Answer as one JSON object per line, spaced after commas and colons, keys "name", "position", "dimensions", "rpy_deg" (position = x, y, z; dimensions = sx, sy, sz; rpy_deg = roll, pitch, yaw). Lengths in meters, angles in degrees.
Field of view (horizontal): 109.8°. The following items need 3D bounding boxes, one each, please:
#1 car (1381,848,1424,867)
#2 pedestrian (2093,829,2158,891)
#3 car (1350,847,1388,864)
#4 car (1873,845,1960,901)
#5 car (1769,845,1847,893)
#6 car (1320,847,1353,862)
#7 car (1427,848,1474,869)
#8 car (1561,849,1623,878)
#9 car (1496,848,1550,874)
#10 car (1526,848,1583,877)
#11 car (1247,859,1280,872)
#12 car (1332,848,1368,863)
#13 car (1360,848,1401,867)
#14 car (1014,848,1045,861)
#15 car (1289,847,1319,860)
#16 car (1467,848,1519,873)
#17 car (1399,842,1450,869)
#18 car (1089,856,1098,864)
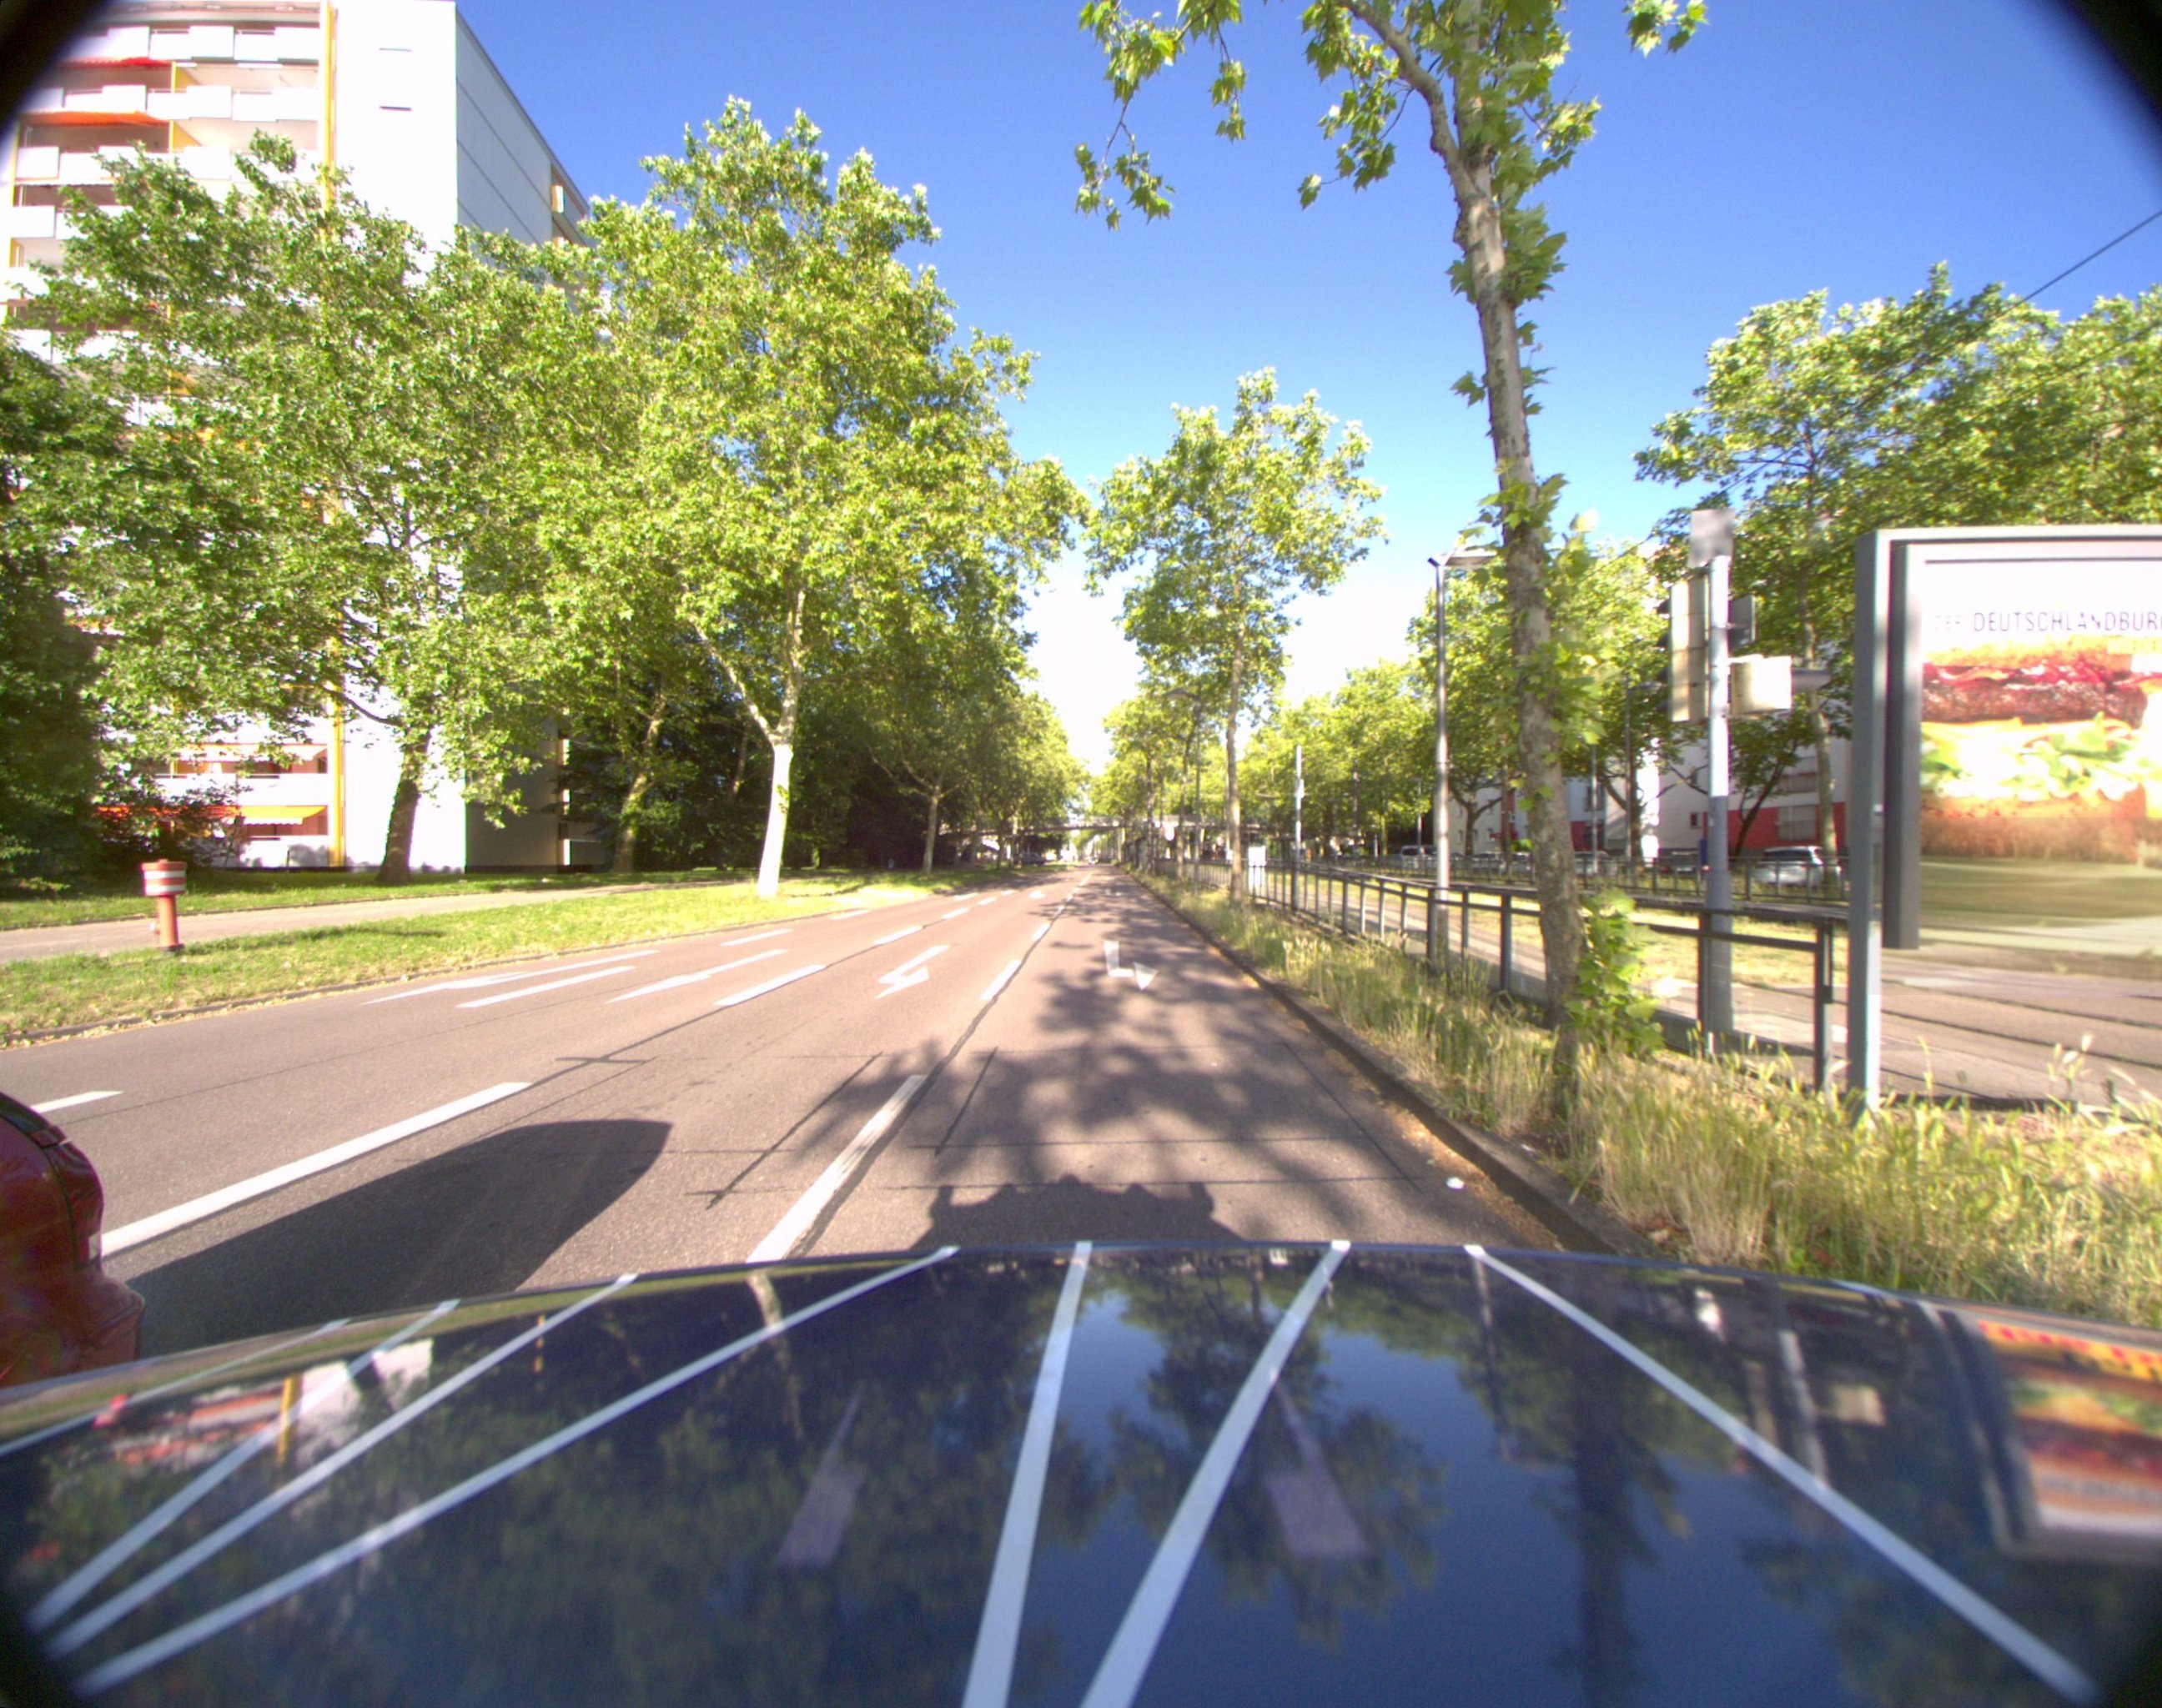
{"name": "car", "position": [25.731, 0.274, 60.748], "dimensions": [3.811, 1.433, 1.652], "rpy_deg": [-2, 0, -42]}
{"name": "pedestrian", "position": [29.748, 0.163, 21.651], "dimensions": [0.764, 1.723, 0.786], "rpy_deg": [-2, 1, -1]}
{"name": "car", "position": [26.620, 0.140, 70.130], "dimensions": [3.811, 1.433, 1.652], "rpy_deg": [-2, 0, -42]}
{"name": "car", "position": [25.247, 0.527, 22.963], "dimensions": [3.811, 1.501, 1.652], "rpy_deg": [-2, 0, -42]}
{"name": "car", "position": [25.360, 0.493, 26.472], "dimensions": [3.811, 1.501, 1.652], "rpy_deg": [-2, 0, -42]}
{"name": "car", "position": [26.786, 0.051, 79.622], "dimensions": [3.811, 1.433, 1.652], "rpy_deg": [-2, 0, -42]}
{"name": "car", "position": [26.303, 0.315, 54.028], "dimensions": [3.811, 1.433, 1.652], "rpy_deg": [-2, 0, -42]}
{"name": "car", "position": [25.384, 0.452, 37.694], "dimensions": [3.811, 1.348, 1.652], "rpy_deg": [-2, 0, -42]}
{"name": "car", "position": [26.100, 0.411, 44.861], "dimensions": [3.811, 1.433, 1.652], "rpy_deg": [-2, 0, -42]}
{"name": "car", "position": [25.865, 0.447, 41.475], "dimensions": [3.811, 1.433, 1.652], "rpy_deg": [-2, 0, -42]}
{"name": "car", "position": [21.551, 1.351, 89.961], "dimensions": [1.657, 1.501, 4.636], "rpy_deg": [-2, 0, -16]}
{"name": "car", "position": [26.066, 0.139, 73.561], "dimensions": [3.811, 1.433, 1.652], "rpy_deg": [-2, 0, -42]}
{"name": "car", "position": [24.944, 0.277, 63.205], "dimensions": [3.811, 1.433, 1.652], "rpy_deg": [-2, 0, -42]}
{"name": "car", "position": [-8.020, 0.118, 118.963], "dimensions": [4.720, 1.924, 1.906], "rpy_deg": [-2, 0, -8]}
{"name": "car", "position": [26.439, -0.042, 89.971], "dimensions": [3.811, 1.433, 1.652], "rpy_deg": [-2, 0, -42]}
{"name": "car", "position": [25.853, 0.402, 47.675], "dimensions": [3.811, 1.433, 1.652], "rpy_deg": [-2, 0, -42]}
{"name": "car", "position": [25.820, 0.094, 57.026], "dimensions": [4.330, 1.863, 1.836], "rpy_deg": [-2, 0, -42]}
{"name": "car", "position": [2.245, 1.072, 138.057], "dimensions": [1.580, 1.395, 3.638], "rpy_deg": [-2, 0, 0]}
